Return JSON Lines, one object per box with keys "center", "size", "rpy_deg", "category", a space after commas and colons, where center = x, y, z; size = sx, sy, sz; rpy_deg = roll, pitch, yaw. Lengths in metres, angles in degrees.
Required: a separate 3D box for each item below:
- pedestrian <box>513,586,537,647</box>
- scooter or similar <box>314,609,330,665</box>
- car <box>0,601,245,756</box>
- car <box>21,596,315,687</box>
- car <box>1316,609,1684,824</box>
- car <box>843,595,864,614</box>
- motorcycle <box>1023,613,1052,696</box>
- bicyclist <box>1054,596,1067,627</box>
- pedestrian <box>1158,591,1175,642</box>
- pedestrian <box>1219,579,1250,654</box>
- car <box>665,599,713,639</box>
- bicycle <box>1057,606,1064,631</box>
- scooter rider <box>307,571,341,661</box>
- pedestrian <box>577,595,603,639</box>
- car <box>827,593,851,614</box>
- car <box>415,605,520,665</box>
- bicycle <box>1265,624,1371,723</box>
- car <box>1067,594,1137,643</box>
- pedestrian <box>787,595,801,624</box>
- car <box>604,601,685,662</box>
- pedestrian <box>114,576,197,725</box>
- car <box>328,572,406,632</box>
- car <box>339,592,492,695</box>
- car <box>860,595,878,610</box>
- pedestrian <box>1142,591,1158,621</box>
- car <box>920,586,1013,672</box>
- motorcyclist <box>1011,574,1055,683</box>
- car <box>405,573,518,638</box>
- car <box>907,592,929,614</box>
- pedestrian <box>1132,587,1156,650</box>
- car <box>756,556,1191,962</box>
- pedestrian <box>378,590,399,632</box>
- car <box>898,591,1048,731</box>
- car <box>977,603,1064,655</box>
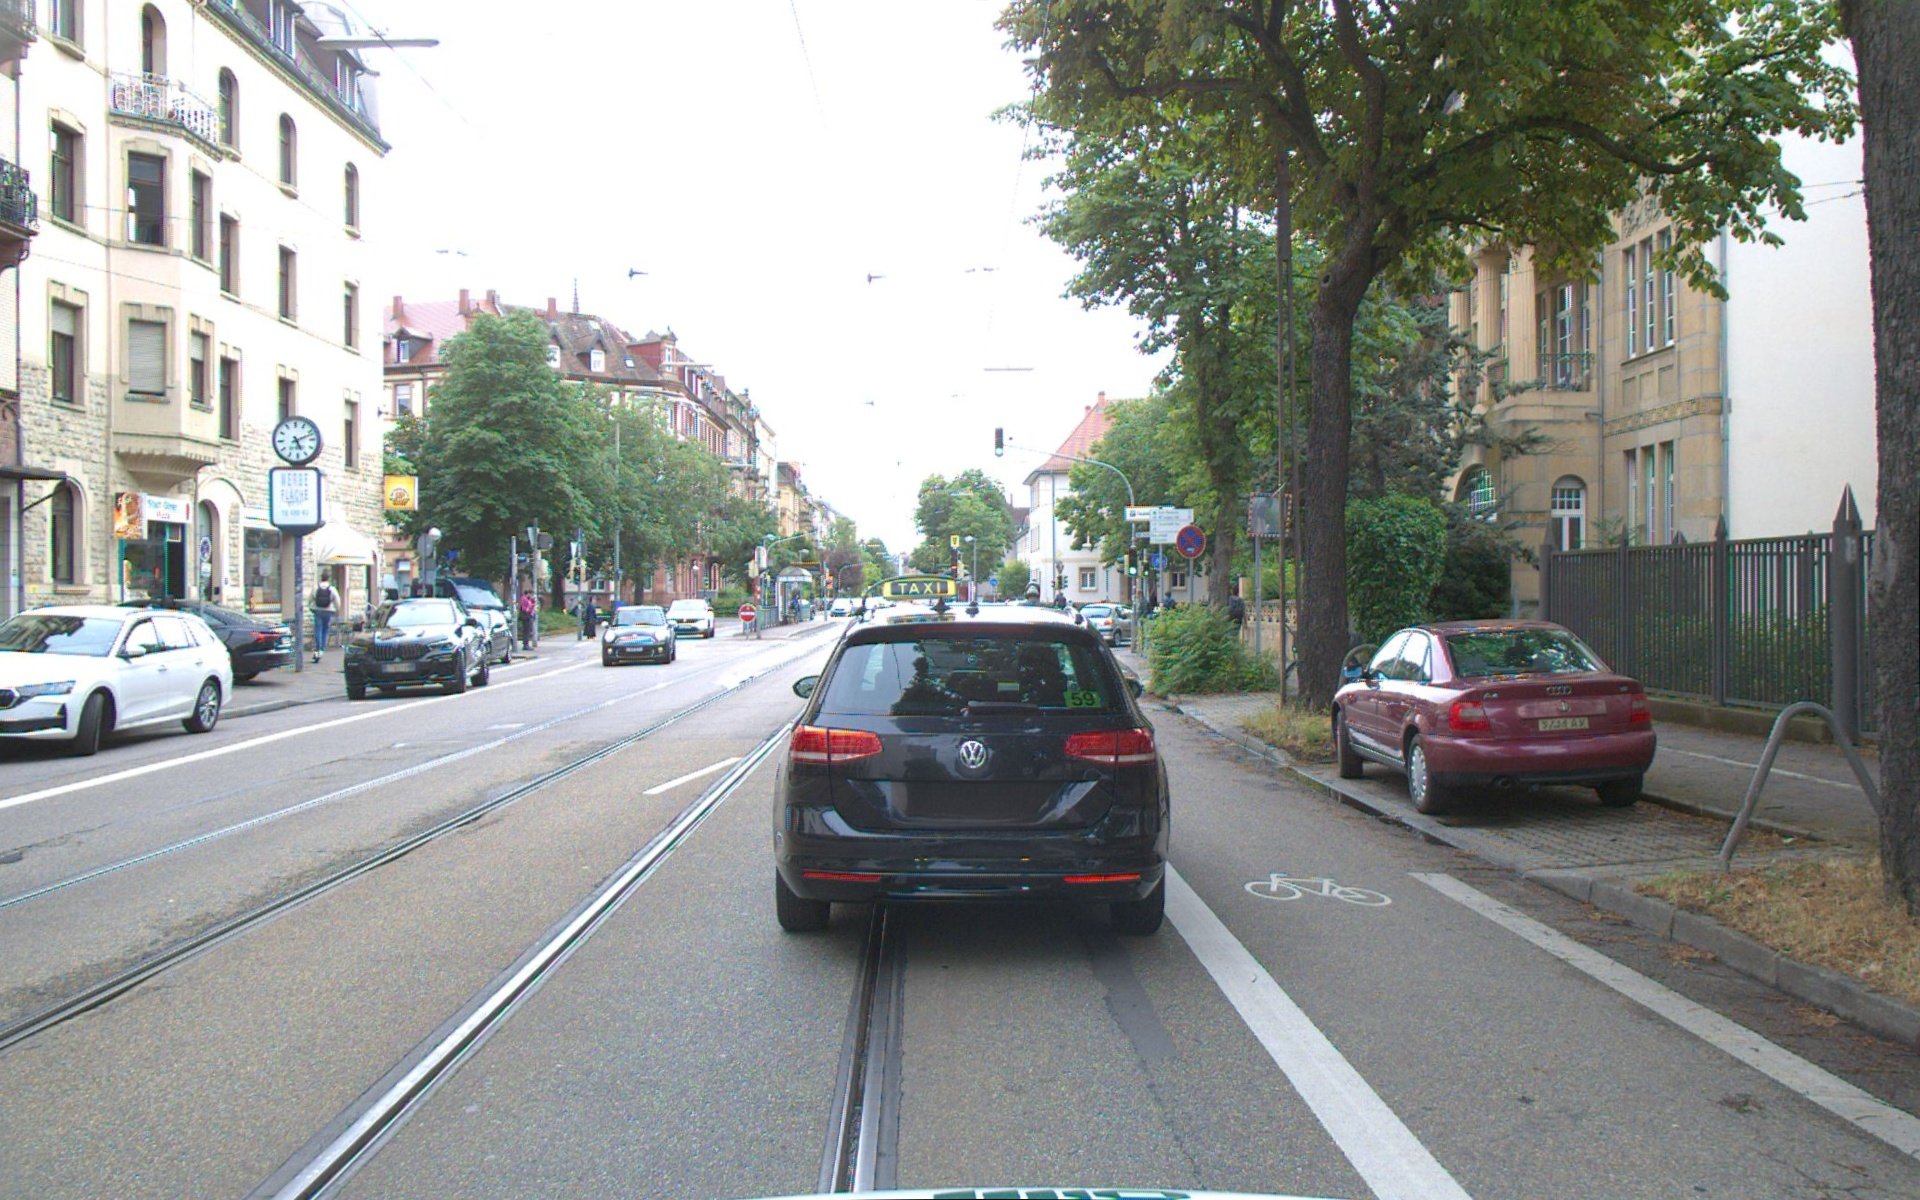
{"center": [-13.438, 0.512, 51.088], "size": [0.610, 1.875, 0.609], "rpy_deg": [0, 0, -3], "category": "pedestrian"}
{"center": [-14.581, 0.833, 37.798], "size": [0.228, 1.256, 0.944], "rpy_deg": [0, 0, -29], "category": "scooter or similar"}
{"center": [-9.773, 0.772, 18.481], "size": [1.712, 1.510, 4.607], "rpy_deg": [0, 0, -2], "category": "car"}
{"center": [-14.228, 0.733, 29.917], "size": [4.340, 1.394, 1.878], "rpy_deg": [3, 0, -6], "category": "car"}
{"center": [4.246, 0.828, 13.708], "size": [1.569, 1.423, 4.226], "rpy_deg": [-2, 0, -1], "category": "car"}
{"center": [-9.602, 0.395, 149.569], "size": [1.686, 1.651, 3.862], "rpy_deg": [0, 0, -1], "category": "car"}
{"center": [1.234, 0.853, 26.531], "size": [0.437, 1.257, 1.907], "rpy_deg": [0, 0, 2], "category": "motorcycle"}
{"center": [5.174, 0.608, 85.345], "size": [0.637, 1.596, 0.696], "rpy_deg": [0, 0, 6], "category": "bicyclist"}
{"center": [7.622, 0.610, 61.056], "size": [0.503, 1.863, 0.418], "rpy_deg": [-3, 0, 15], "category": "pedestrian"}
{"center": [6.751, 0.401, 40.707], "size": [0.619, 1.846, 0.725], "rpy_deg": [0, 0, -4], "category": "pedestrian"}
{"center": [-10.668, 0.728, 65.293], "size": [1.666, 1.522, 3.925], "rpy_deg": [-1, 0, -6], "category": "car"}
{"center": [5.166, 0.942, 85.334], "size": [0.291, 1.244, 1.431], "rpy_deg": [0, 0, 6], "category": "bicycle"}
{"center": [-14.572, 0.362, 37.866], "size": [0.635, 2.049, 0.750], "rpy_deg": [0, 0, -29], "category": "scooter rider"}
{"center": [-14.360, 0.642, 64.181], "size": [0.827, 1.692, 0.585], "rpy_deg": [0, 0, -29], "category": "pedestrian"}
{"center": [-9.853, 0.284, 134.831], "size": [1.686, 1.651, 3.862], "rpy_deg": [0, 0, -1], "category": "car"}
{"center": [-12.616, 0.865, 42.586], "size": [1.616, 1.385, 4.127], "rpy_deg": [3, 0, -3], "category": "car"}
{"center": [4.660, 0.940, 21.446], "size": [0.426, 1.219, 1.891], "rpy_deg": [0, -2, 44], "category": "bicycle"}
{"center": [4.916, 0.635, 56.873], "size": [1.951, 1.605, 4.003], "rpy_deg": [1, -1, 11], "category": "car"}
{"center": [-8.824, 0.489, 88.045], "size": [0.699, 1.547, 0.590], "rpy_deg": [0, 0, 0], "category": "pedestrian"}
{"center": [-7.884, 0.756, 41.596], "size": [1.577, 1.447, 3.483], "rpy_deg": [-1, 0, -4], "category": "car"}
{"center": [-10.381, 0.641, 21.357], "size": [0.654, 1.876, 0.882], "rpy_deg": [0, 0, -2], "category": "pedestrian"}
{"center": [-26.340, 0.077, 73.339], "size": [2.158, 2.571, 5.319], "rpy_deg": [0, 0, -33], "category": "car"}
{"center": [-9.760, 0.733, 30.011], "size": [1.849, 1.640, 4.876], "rpy_deg": [-2, 0, -10], "category": "car"}
{"center": [-9.116, 0.258, 166.710], "size": [1.686, 1.490, 3.862], "rpy_deg": [0, 0, -1], "category": "car"}
{"center": [9.909, 0.305, 86.393], "size": [0.604, 1.581, 0.575], "rpy_deg": [1, 0, -40], "category": "pedestrian"}
{"center": [0.090, 0.529, 32.248], "size": [1.688, 1.573, 3.999], "rpy_deg": [1, 0, -1], "category": "car"}
{"center": [1.178, 0.448, 26.554], "size": [0.688, 1.722, 0.805], "rpy_deg": [0, 0, 3], "category": "motorcyclist"}
{"center": [-19.642, 0.195, 64.991], "size": [2.168, 2.460, 5.295], "rpy_deg": [0, 0, -43], "category": "car"}
{"center": [-4.008, 0.320, 158.750], "size": [1.991, 2.049, 3.999], "rpy_deg": [1, -1, -1], "category": "car"}
{"center": [5.518, 0.545, 49.695], "size": [0.573, 1.863, 0.604], "rpy_deg": [-3, 0, 0], "category": "pedestrian"}
{"center": [0.021, 0.622, 8.474], "size": [1.688, 1.573, 3.999], "rpy_deg": [1, 0, -1], "category": "car"}
{"center": [-23.694, 0.464, 68.561], "size": [0.694, 1.745, 0.544], "rpy_deg": [0, 0, -41], "category": "pedestrian"}
{"center": [0.114, 0.695, 20.857], "size": [1.688, 1.573, 3.999], "rpy_deg": [1, 0, -1], "category": "car"}
{"center": [1.816, 0.831, 48.406], "size": [1.851, 1.433, 4.003], "rpy_deg": [0, 0, 13], "category": "car"}
